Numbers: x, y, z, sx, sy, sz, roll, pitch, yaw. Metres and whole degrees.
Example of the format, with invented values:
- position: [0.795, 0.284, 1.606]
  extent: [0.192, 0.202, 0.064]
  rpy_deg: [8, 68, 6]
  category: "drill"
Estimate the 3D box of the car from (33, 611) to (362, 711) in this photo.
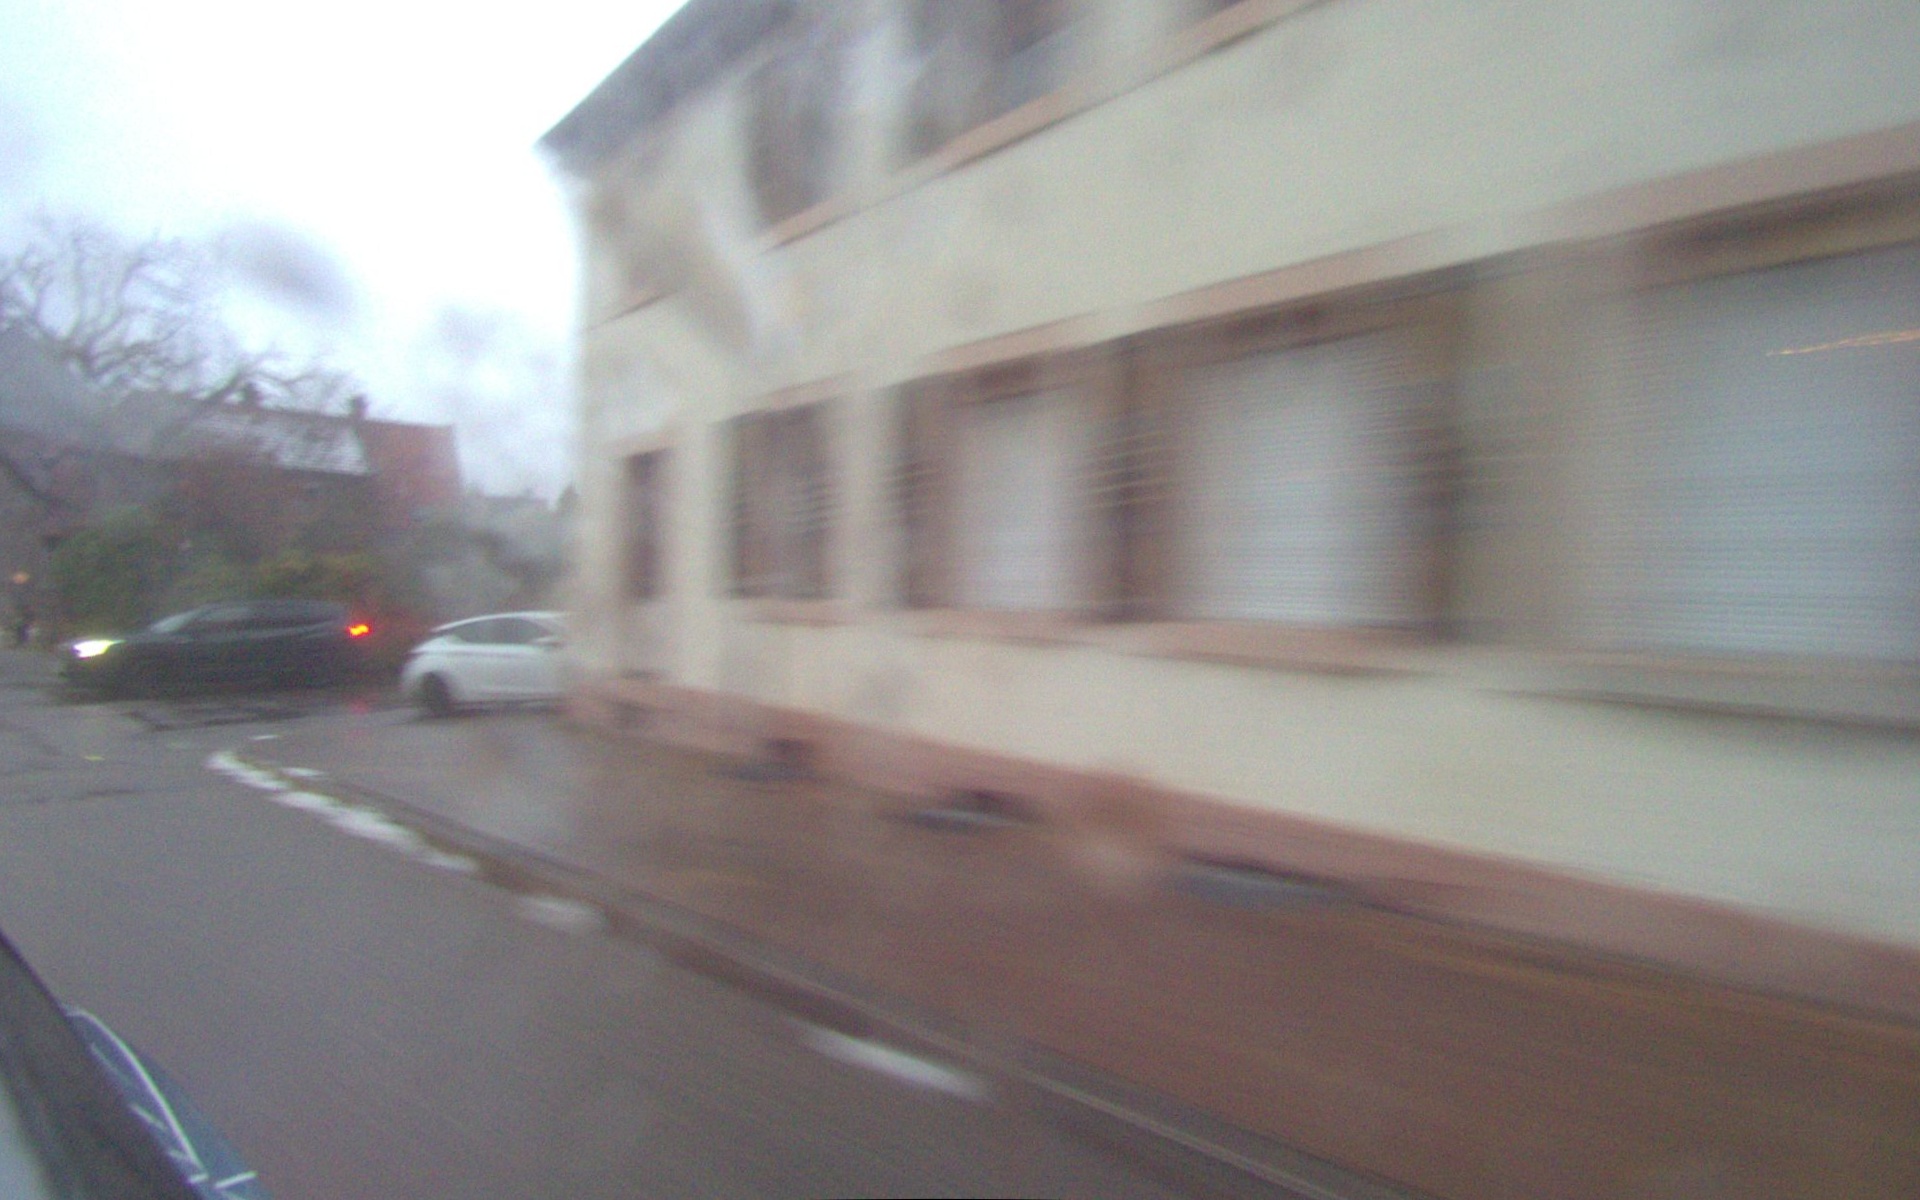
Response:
- position: [-13.768, 1.013, 18.535]
  extent: [1.996, 1.591, 4.426]
  rpy_deg: [-1, -1, 36]
  category: "car"

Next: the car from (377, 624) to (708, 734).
- position: [-6.114, 1.097, 15.018]
  extent: [4.196, 1.436, 1.991]
  rpy_deg: [0, -1, 14]
  category: "car"
